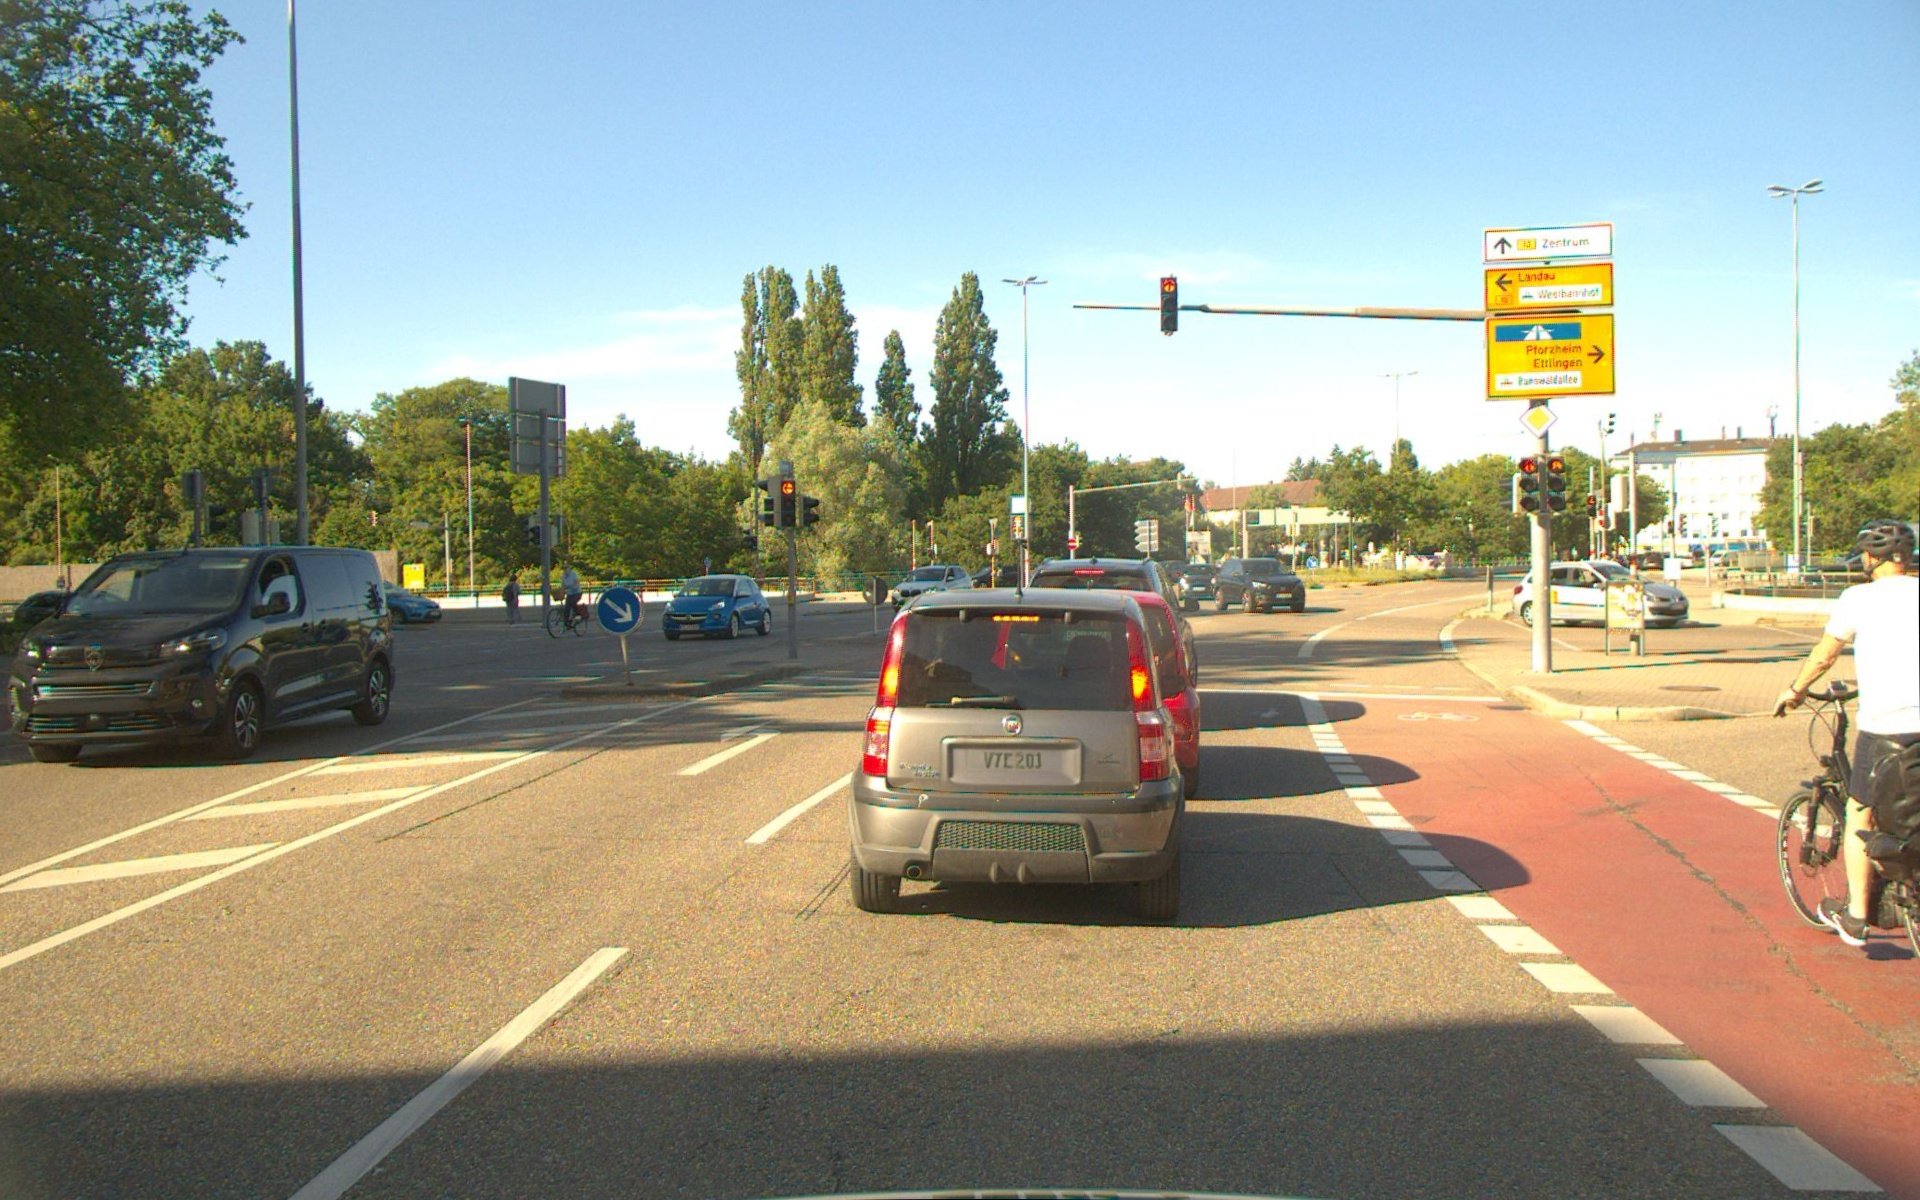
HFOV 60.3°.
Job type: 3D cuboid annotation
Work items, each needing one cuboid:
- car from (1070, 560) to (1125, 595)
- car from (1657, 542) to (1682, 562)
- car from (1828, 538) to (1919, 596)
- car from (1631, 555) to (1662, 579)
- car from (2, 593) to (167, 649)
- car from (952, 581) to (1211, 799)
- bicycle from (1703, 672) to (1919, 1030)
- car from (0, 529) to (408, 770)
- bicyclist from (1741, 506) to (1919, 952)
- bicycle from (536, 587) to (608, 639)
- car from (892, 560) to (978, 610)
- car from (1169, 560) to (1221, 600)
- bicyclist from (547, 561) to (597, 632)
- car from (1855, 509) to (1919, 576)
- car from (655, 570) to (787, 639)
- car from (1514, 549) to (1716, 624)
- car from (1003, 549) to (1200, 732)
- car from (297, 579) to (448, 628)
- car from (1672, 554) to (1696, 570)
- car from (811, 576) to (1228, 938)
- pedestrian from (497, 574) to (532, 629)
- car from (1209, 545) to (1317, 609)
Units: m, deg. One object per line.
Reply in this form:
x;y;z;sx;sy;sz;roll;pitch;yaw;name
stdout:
6.550;-1.060;78.420;1.651;1.482;3.914;-1;-2;19;car
67.500;-4.550;157.382;1.955;1.825;3.996;-1;1;27;car
35.245;-1.235;62.601;3.925;2.049;1.990;-1;-2;40;car
58.223;-2.801;140.286;1.956;1.825;3.992;-1;-2;30;car
-24.903;0.599;47.050;4.347;1.464;1.825;-1;1;24;car
1.019;0.609;13.485;1.781;1.505;4.003;-1;0;5;car
3.872;0.927;6.879;0.782;1.130;2.404;1;0;8;bicycle
-7.192;0.372;16.195;1.953;1.969;4.851;-1;1;-1;car
3.888;0.500;6.966;0.782;1.735;1.086;1;0;8;bicyclist
-9.605;0.306;41.031;0.672;1.223;2.329;-1;1;15;bicycle
-0.852;-0.559;59.081;1.795;1.682;4.632;-1;1;16;car
9.660;-0.801;67.831;1.951;1.478;4.003;0;-1;10;car
-9.614;-0.103;41.031;0.672;1.731;1.199;-1;1;16;bicyclist
40.251;-2.400;68.805;2.240;2.653;4.814;1;-2;-40;car
-5.673;0.067;39.895;1.781;1.529;4.455;-1;1;11;car
14.975;-0.310;38.018;1.803;1.610;4.059;-2;1;-32;car
1.735;0.353;18.919;1.829;1.821;4.418;1;1;10;car
-18.984;0.114;53.435;4.343;1.464;1.827;-1;1;18;car
76.848;-4.059;175.573;1.956;1.668;3.994;-1;1;29;car
0.418;0.650;9.206;1.782;1.515;4.003;1;1;5;car
-13.368;0.052;49.657;0.672;1.565;1.365;0;-4;-1;pedestrian
9.535;-0.679;52.326;1.958;1.868;4.349;0;-1;-11;car
